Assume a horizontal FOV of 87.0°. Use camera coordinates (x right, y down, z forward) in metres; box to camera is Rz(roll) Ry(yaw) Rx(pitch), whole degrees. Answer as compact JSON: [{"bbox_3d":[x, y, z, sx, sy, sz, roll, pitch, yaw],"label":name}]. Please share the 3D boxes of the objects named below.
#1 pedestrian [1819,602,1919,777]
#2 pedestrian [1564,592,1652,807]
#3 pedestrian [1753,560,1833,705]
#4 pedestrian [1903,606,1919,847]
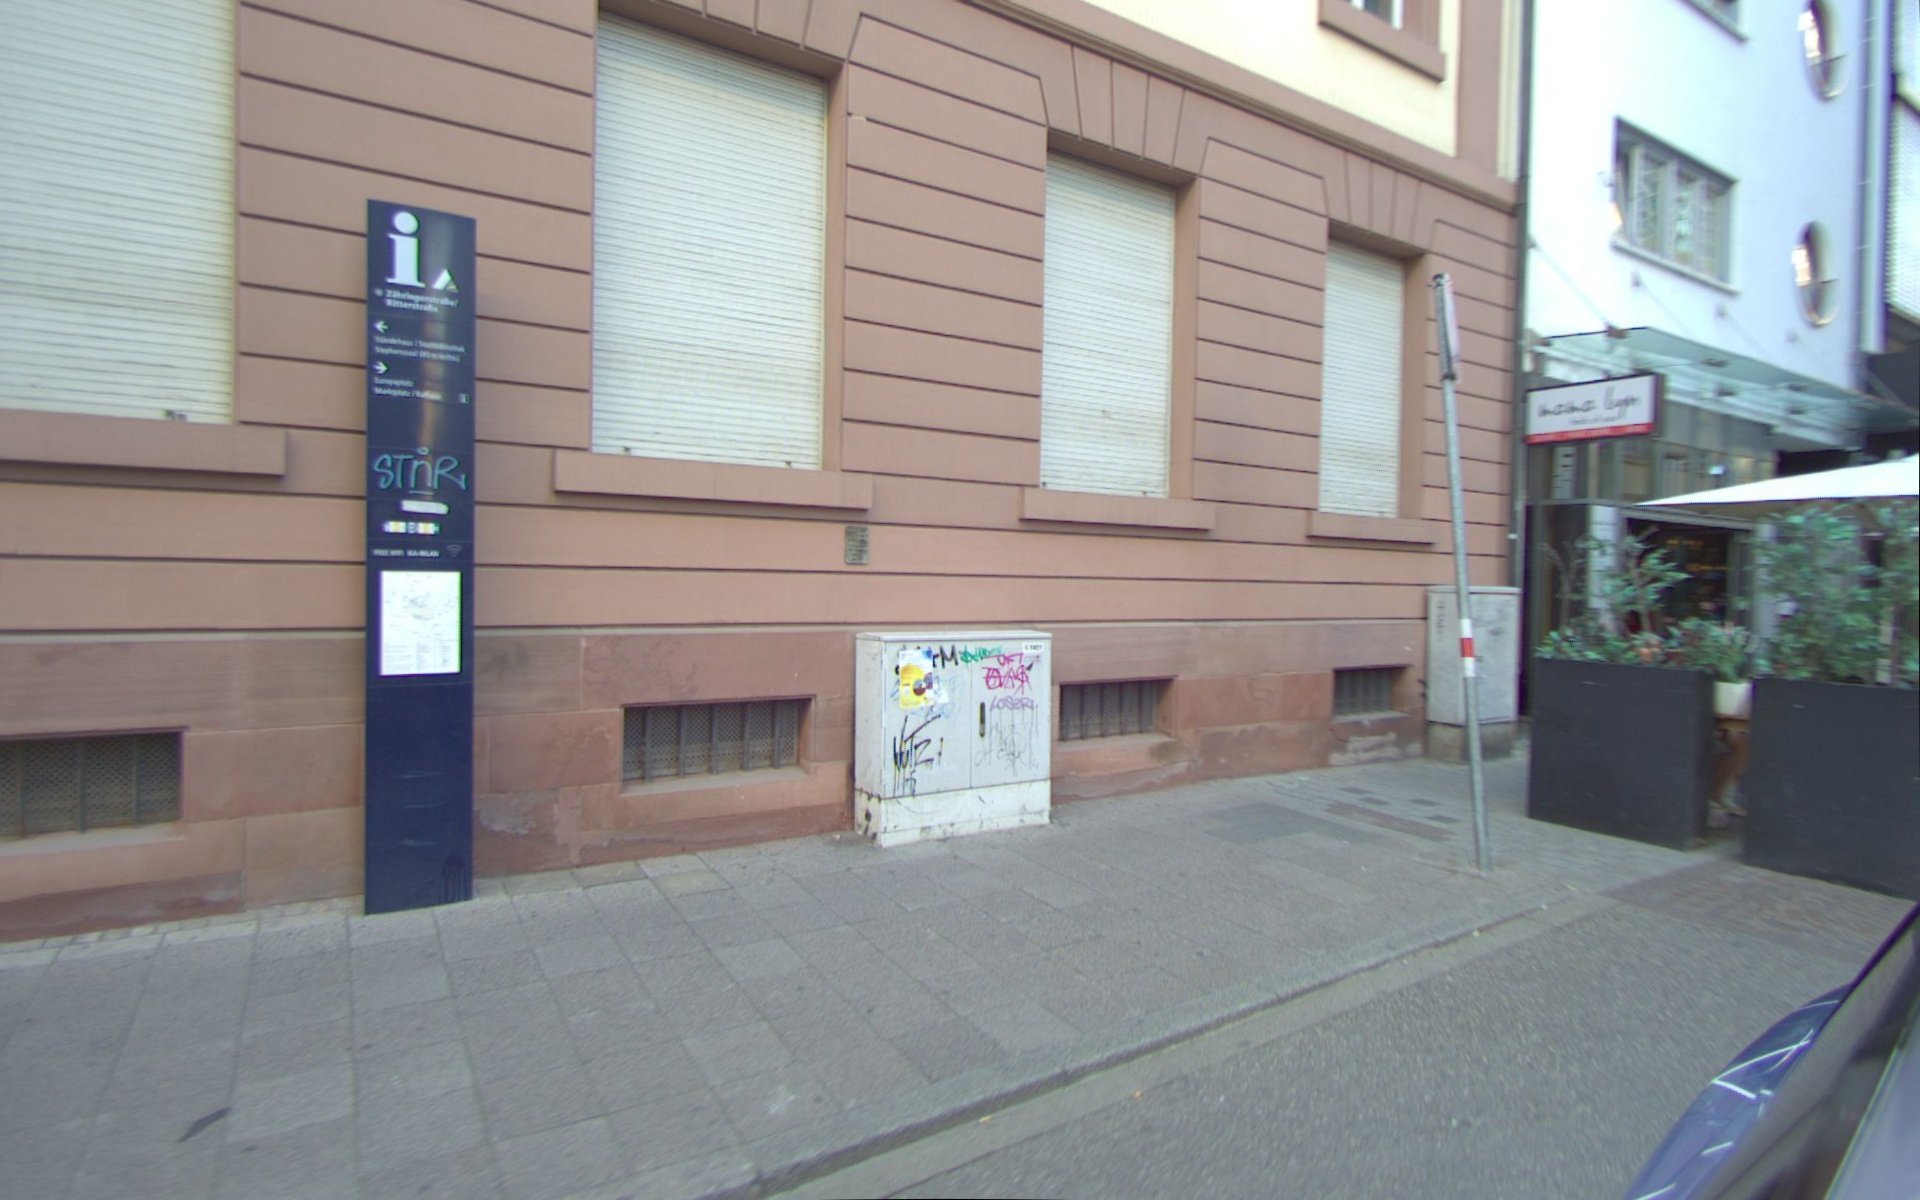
[{"bbox_3d":[8.127,0.750,8.922,0.851,1.437,0.576,0,1,-31],"label":"pedestrian"},{"bbox_3d":[4.201,0.614,6.561,0.361,1.322,0.487,2,1,44],"label":"pedestrian"},{"bbox_3d":[10.729,0.395,13.042,0.591,1.794,0.640,0,1,-37],"label":"pedestrian"},{"bbox_3d":[5.151,0.654,5.189,0.376,1.228,0.400,0,1,-41],"label":"pedestrian"}]
